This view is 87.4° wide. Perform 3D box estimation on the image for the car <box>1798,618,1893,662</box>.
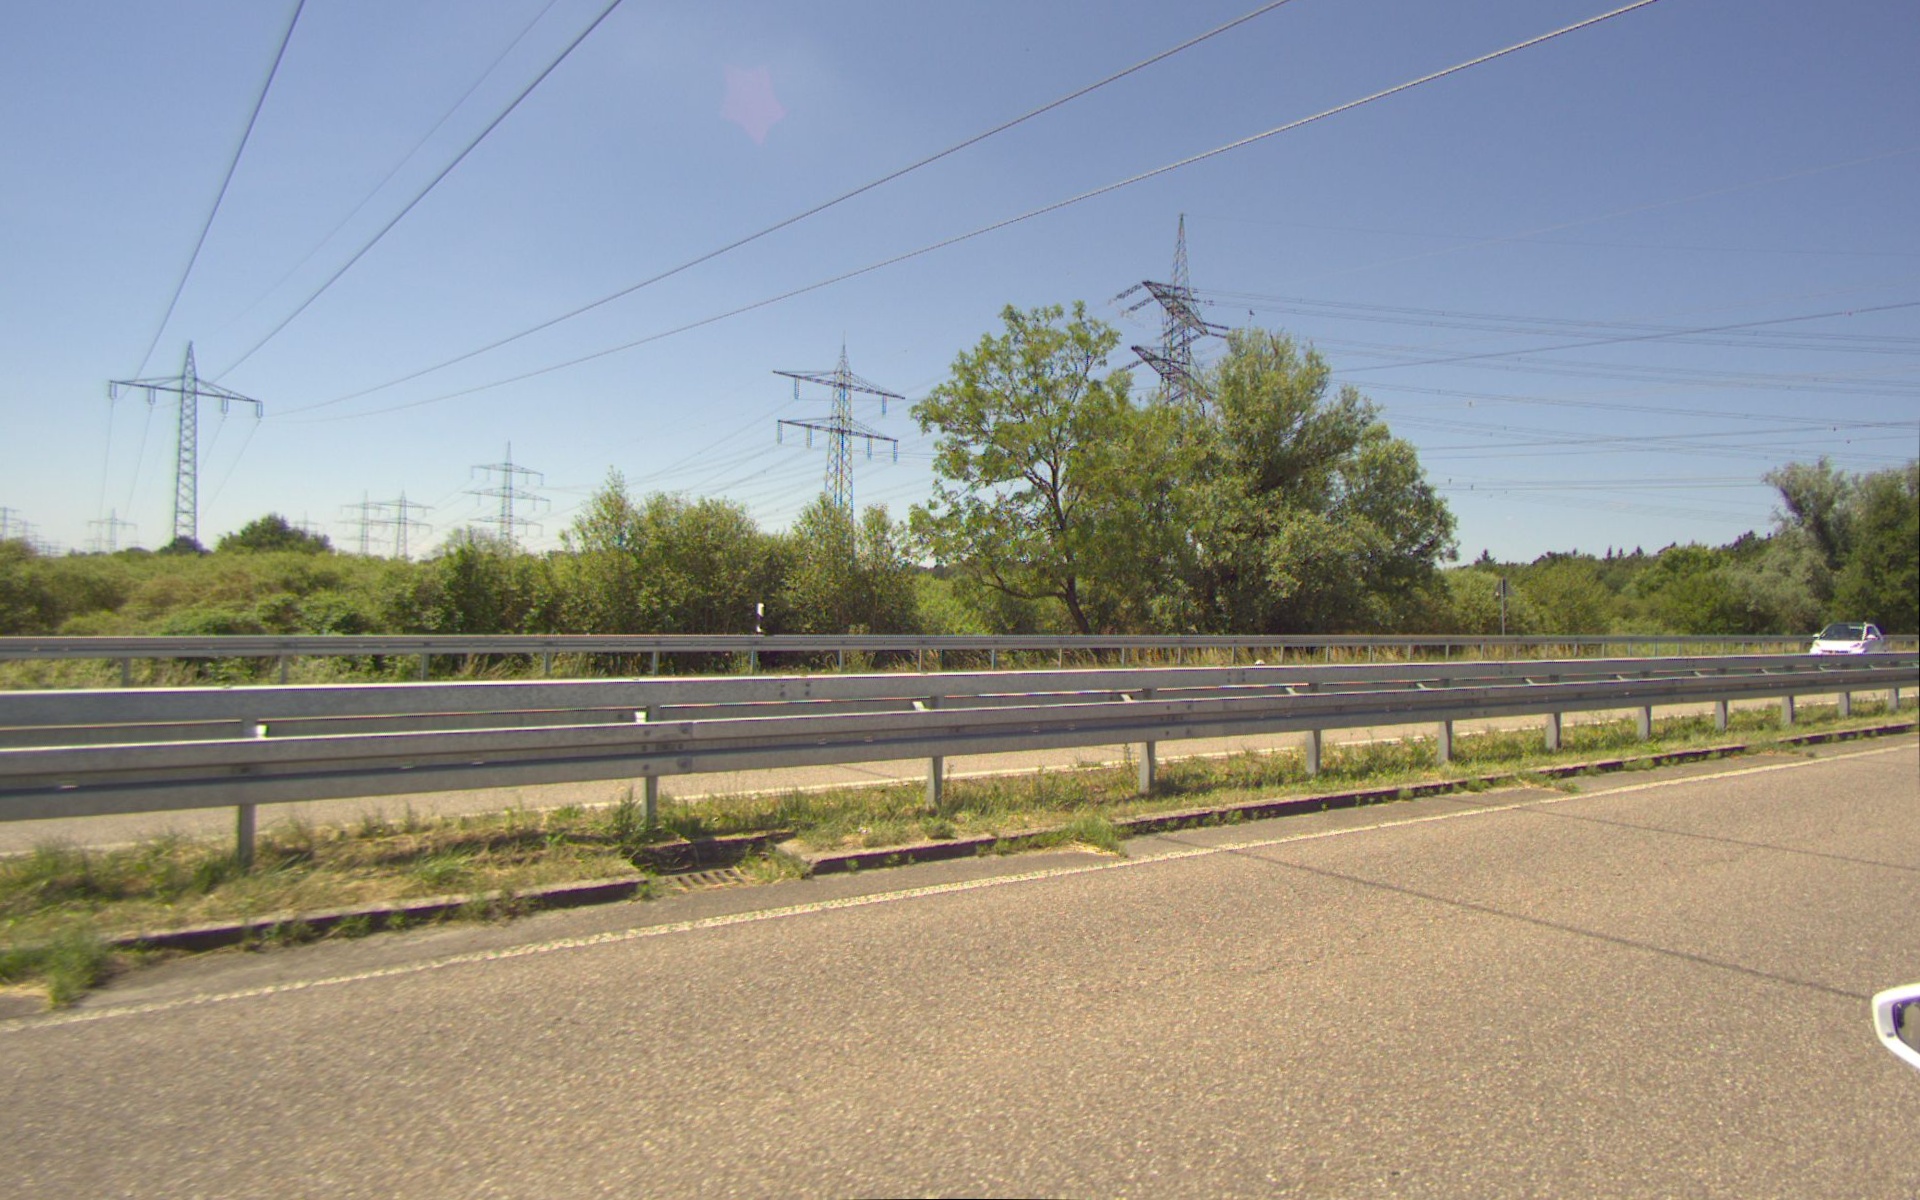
[{"bbox_3d":[31.798,1.420,36.062,3.659,1.469,1.525,1,0,-31],"label":"car"}]
